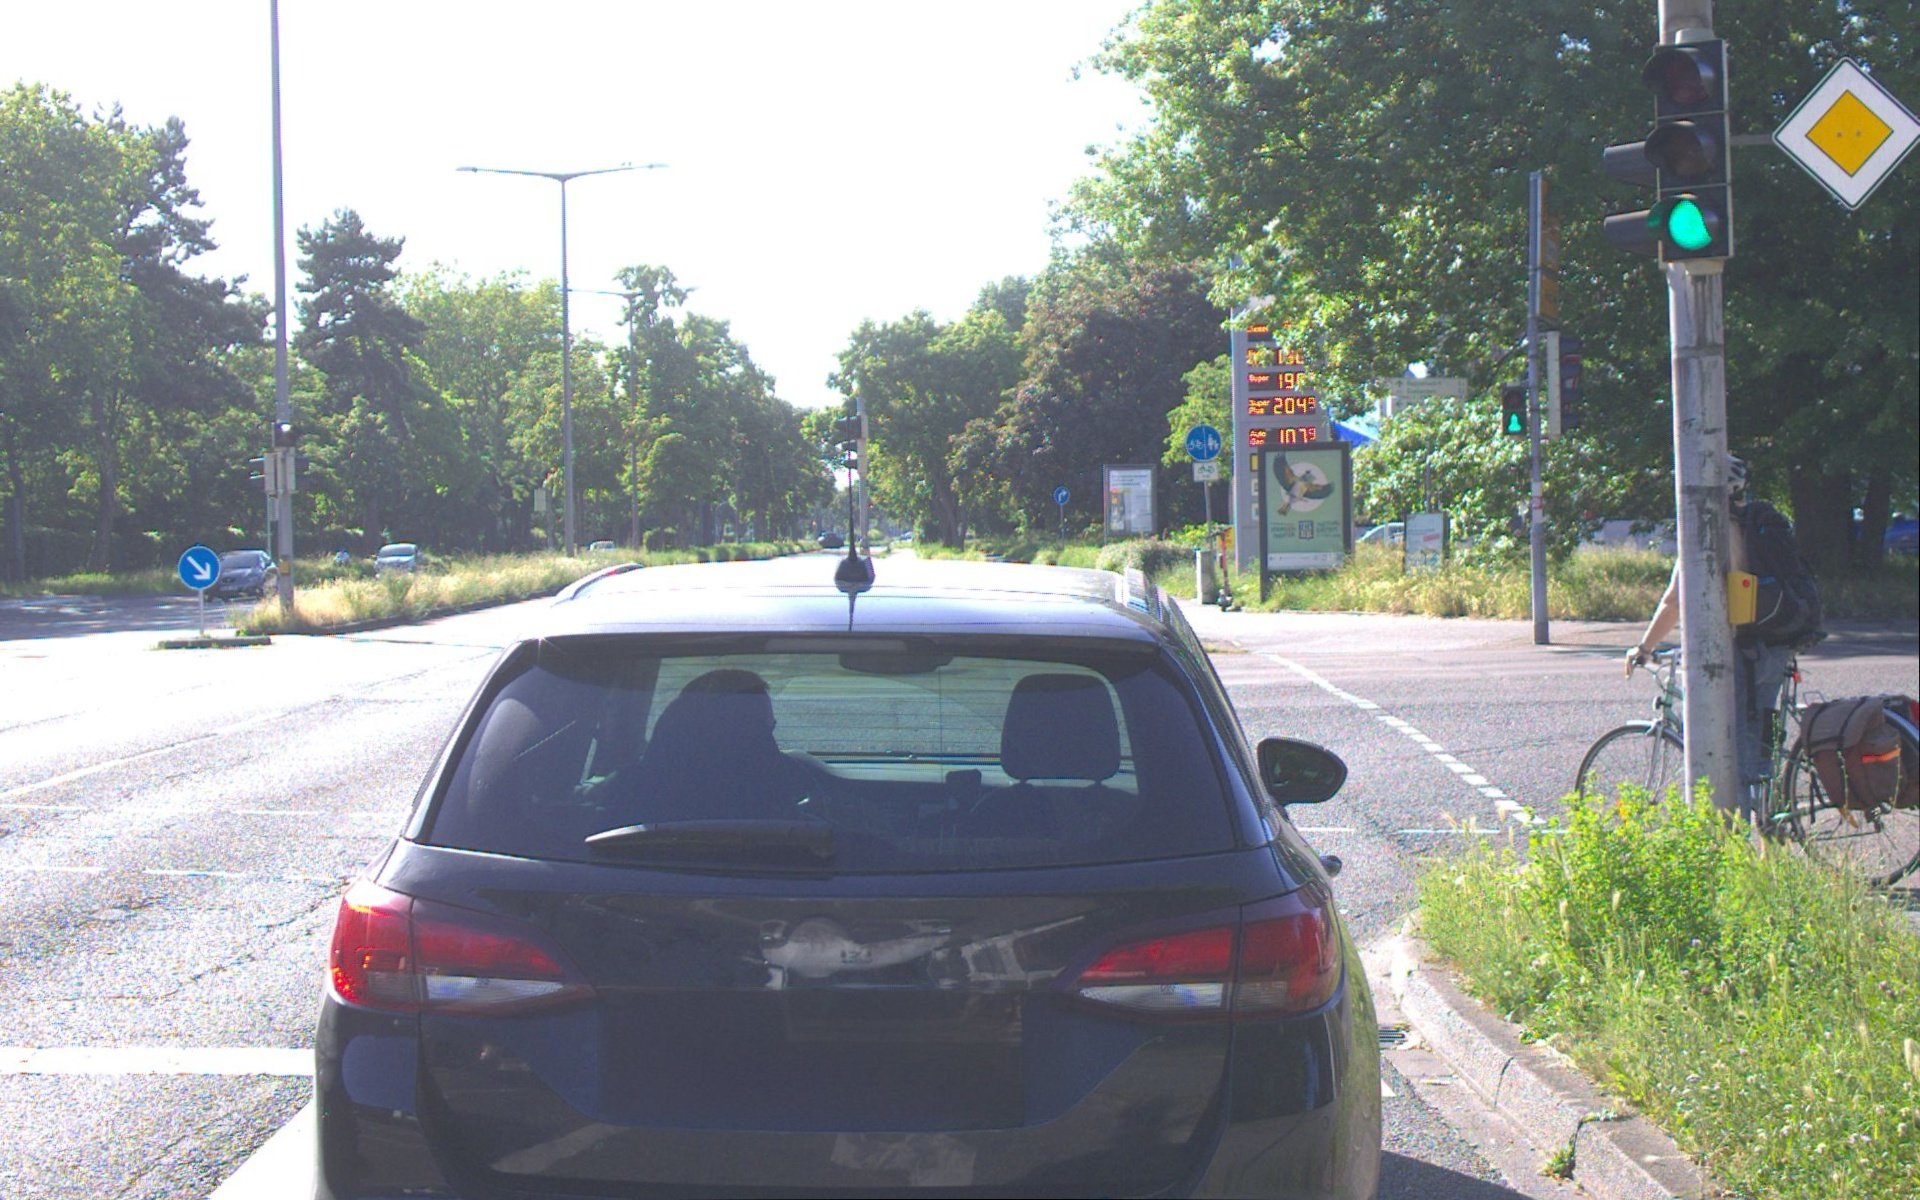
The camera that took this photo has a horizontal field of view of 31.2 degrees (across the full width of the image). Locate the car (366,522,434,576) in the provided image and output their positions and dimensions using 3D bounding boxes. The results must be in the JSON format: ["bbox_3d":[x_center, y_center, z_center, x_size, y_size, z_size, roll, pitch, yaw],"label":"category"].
[{"bbox_3d":[-21.748,-1.979,133.569,1.993,2.007,4.000,-2,1,-1],"label":"car"}]

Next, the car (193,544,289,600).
[{"bbox_3d":[-21.016,-0.843,100.618,1.993,1.525,4.000,-2,1,-1],"label":"car"}]

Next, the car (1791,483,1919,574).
[{"bbox_3d":[16.621,-1.273,59.812,3.887,1.512,1.746,-2,1,-23],"label":"car"}]

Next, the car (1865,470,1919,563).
[{"bbox_3d":[17.097,-1.415,56.727,3.887,1.512,1.746,-2,1,-23],"label":"car"}]

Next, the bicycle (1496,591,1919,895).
[{"bbox_3d":[2.983,0.549,13.343,0.536,1.094,1.775,-3,0,-44],"label":"bicycle"}]

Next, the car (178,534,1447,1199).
[{"bbox_3d":[-0.229,0.632,6.874,1.756,1.490,4.207,0,1,-1],"label":"car"}]

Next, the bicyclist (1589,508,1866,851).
[{"bbox_3d":[2.975,0.308,13.341,0.536,1.272,0.829,-3,0,-44],"label":"bicyclist"}]
